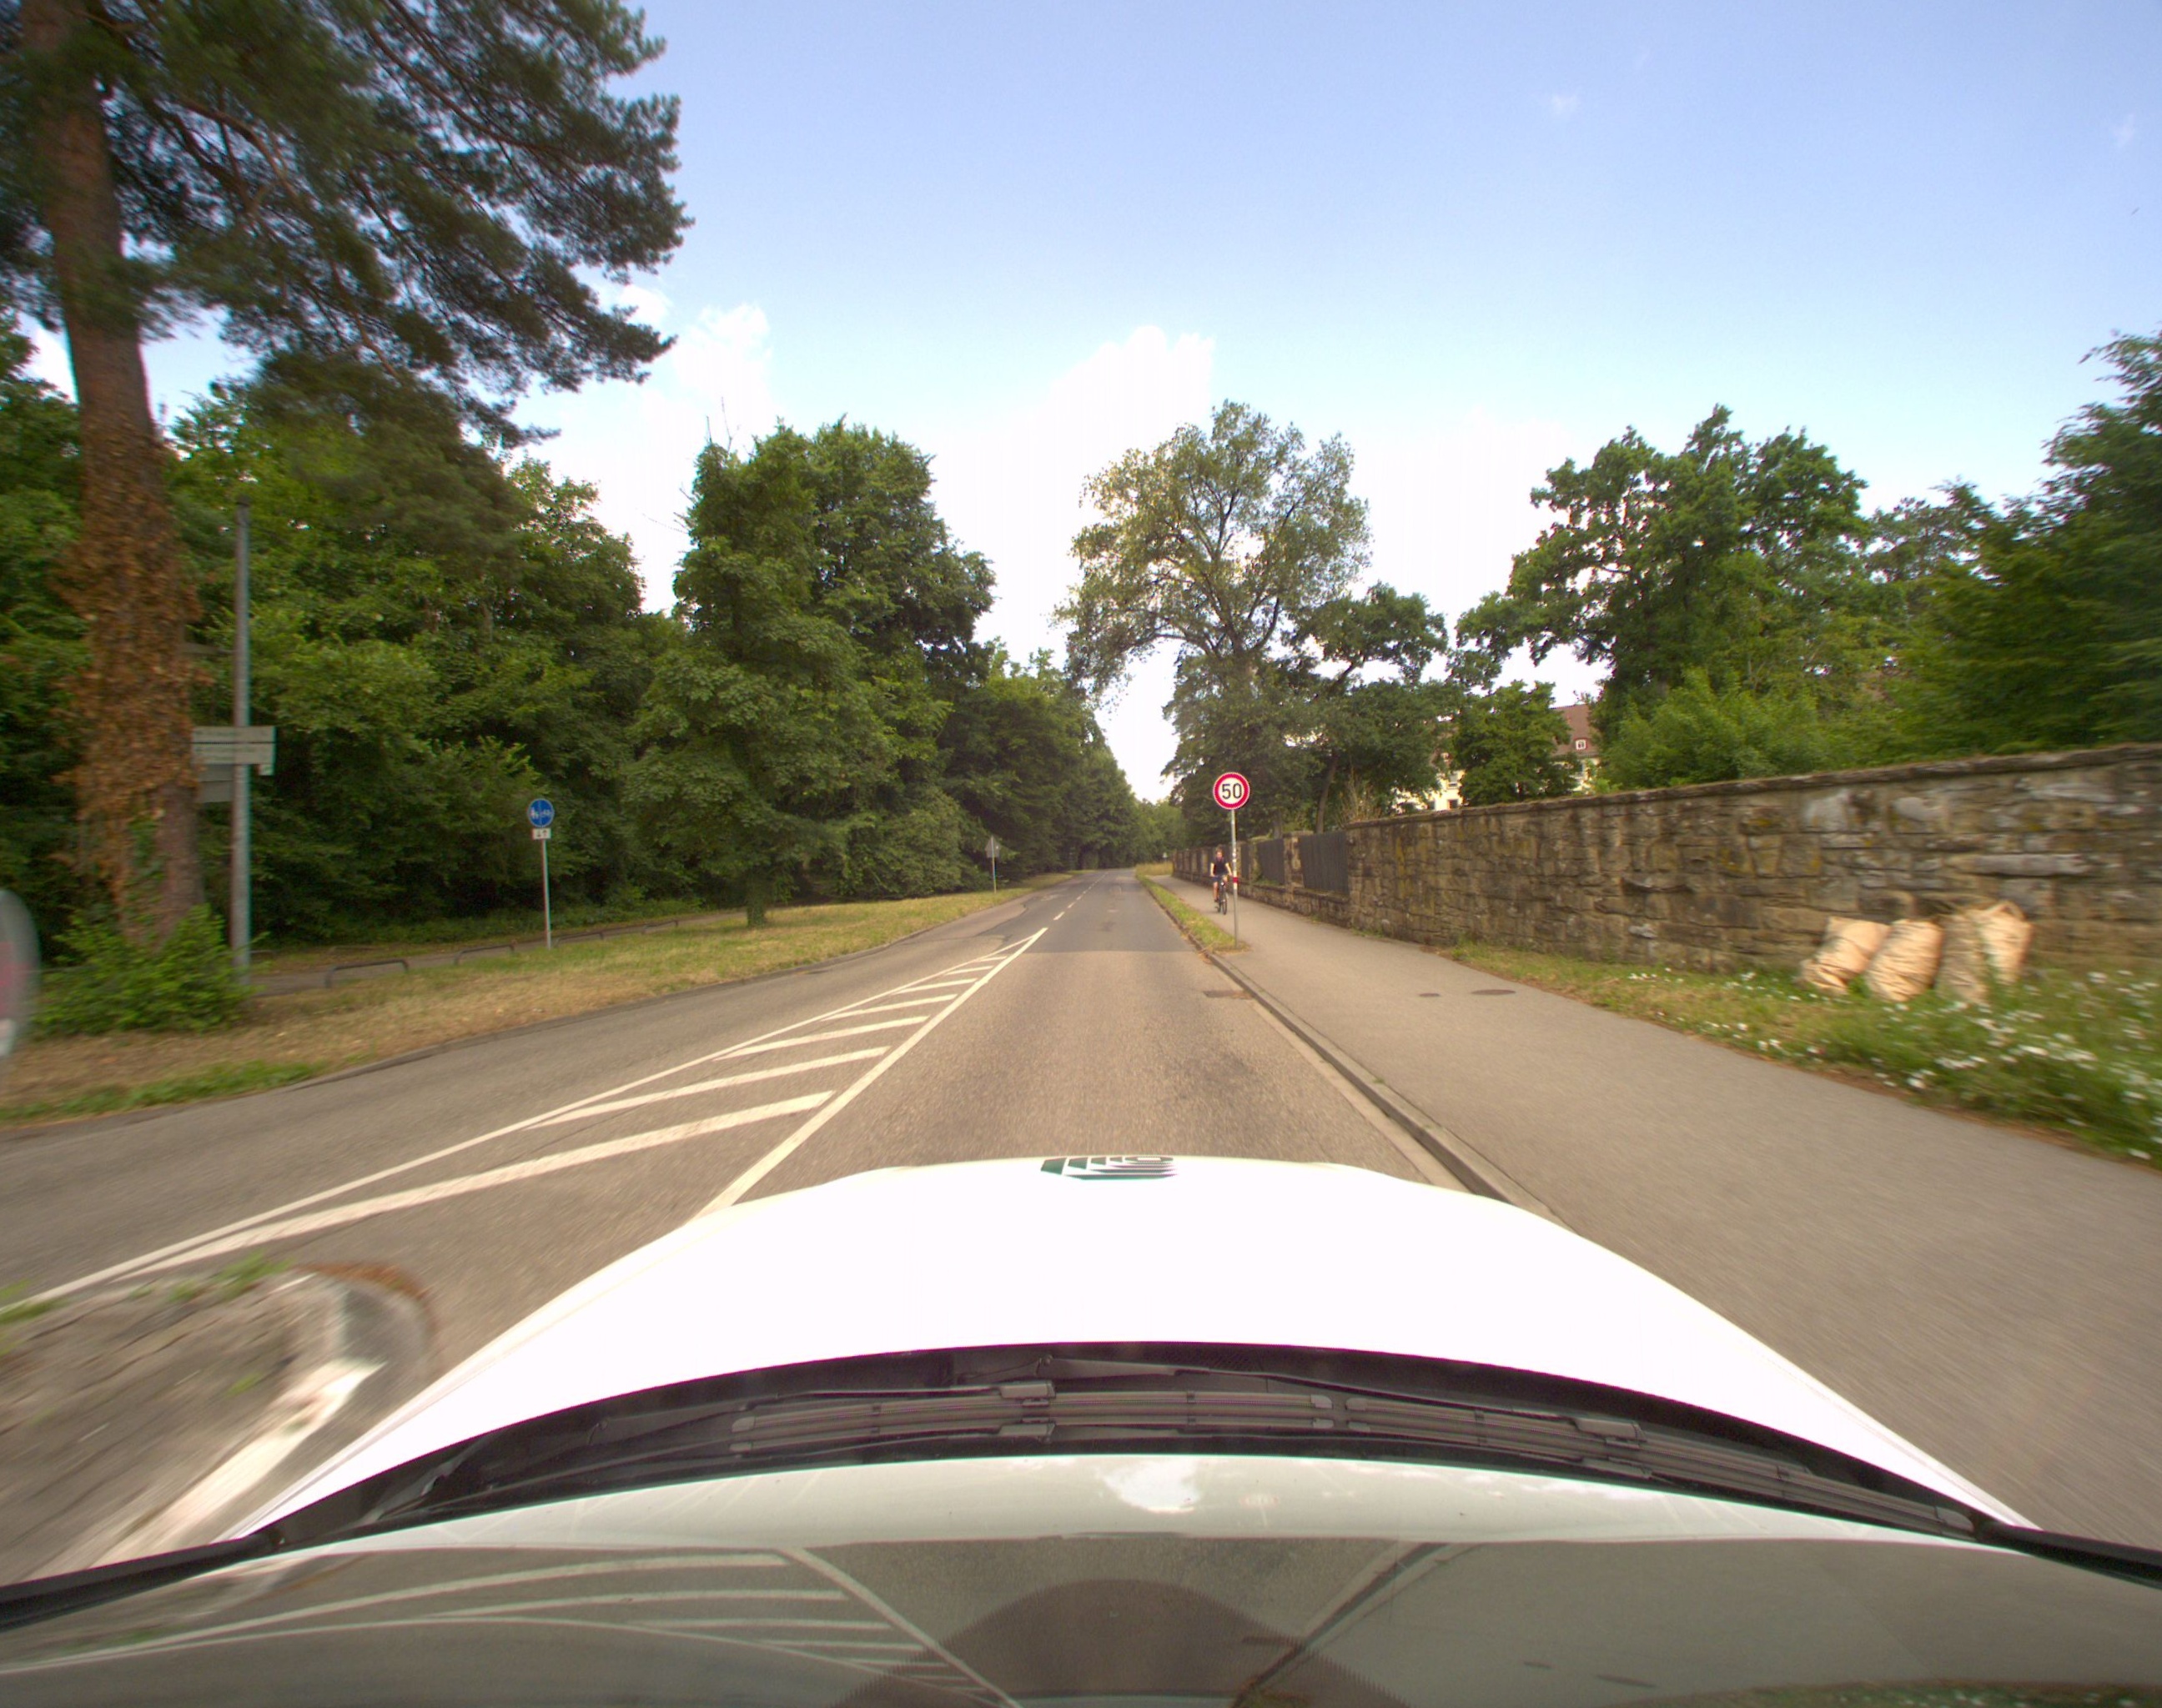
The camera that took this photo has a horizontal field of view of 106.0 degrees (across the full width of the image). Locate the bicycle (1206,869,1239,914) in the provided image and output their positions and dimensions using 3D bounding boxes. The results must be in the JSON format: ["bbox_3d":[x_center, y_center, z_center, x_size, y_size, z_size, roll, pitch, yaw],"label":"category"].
[{"bbox_3d":[3.797,0.988,22.005,0.556,1.073,2.158,-3,0,3],"label":"bicycle"}]

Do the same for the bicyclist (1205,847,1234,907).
[{"bbox_3d":[3.782,0.606,22.327,0.567,1.588,1.206,-3,0,2],"label":"bicyclist"}]
